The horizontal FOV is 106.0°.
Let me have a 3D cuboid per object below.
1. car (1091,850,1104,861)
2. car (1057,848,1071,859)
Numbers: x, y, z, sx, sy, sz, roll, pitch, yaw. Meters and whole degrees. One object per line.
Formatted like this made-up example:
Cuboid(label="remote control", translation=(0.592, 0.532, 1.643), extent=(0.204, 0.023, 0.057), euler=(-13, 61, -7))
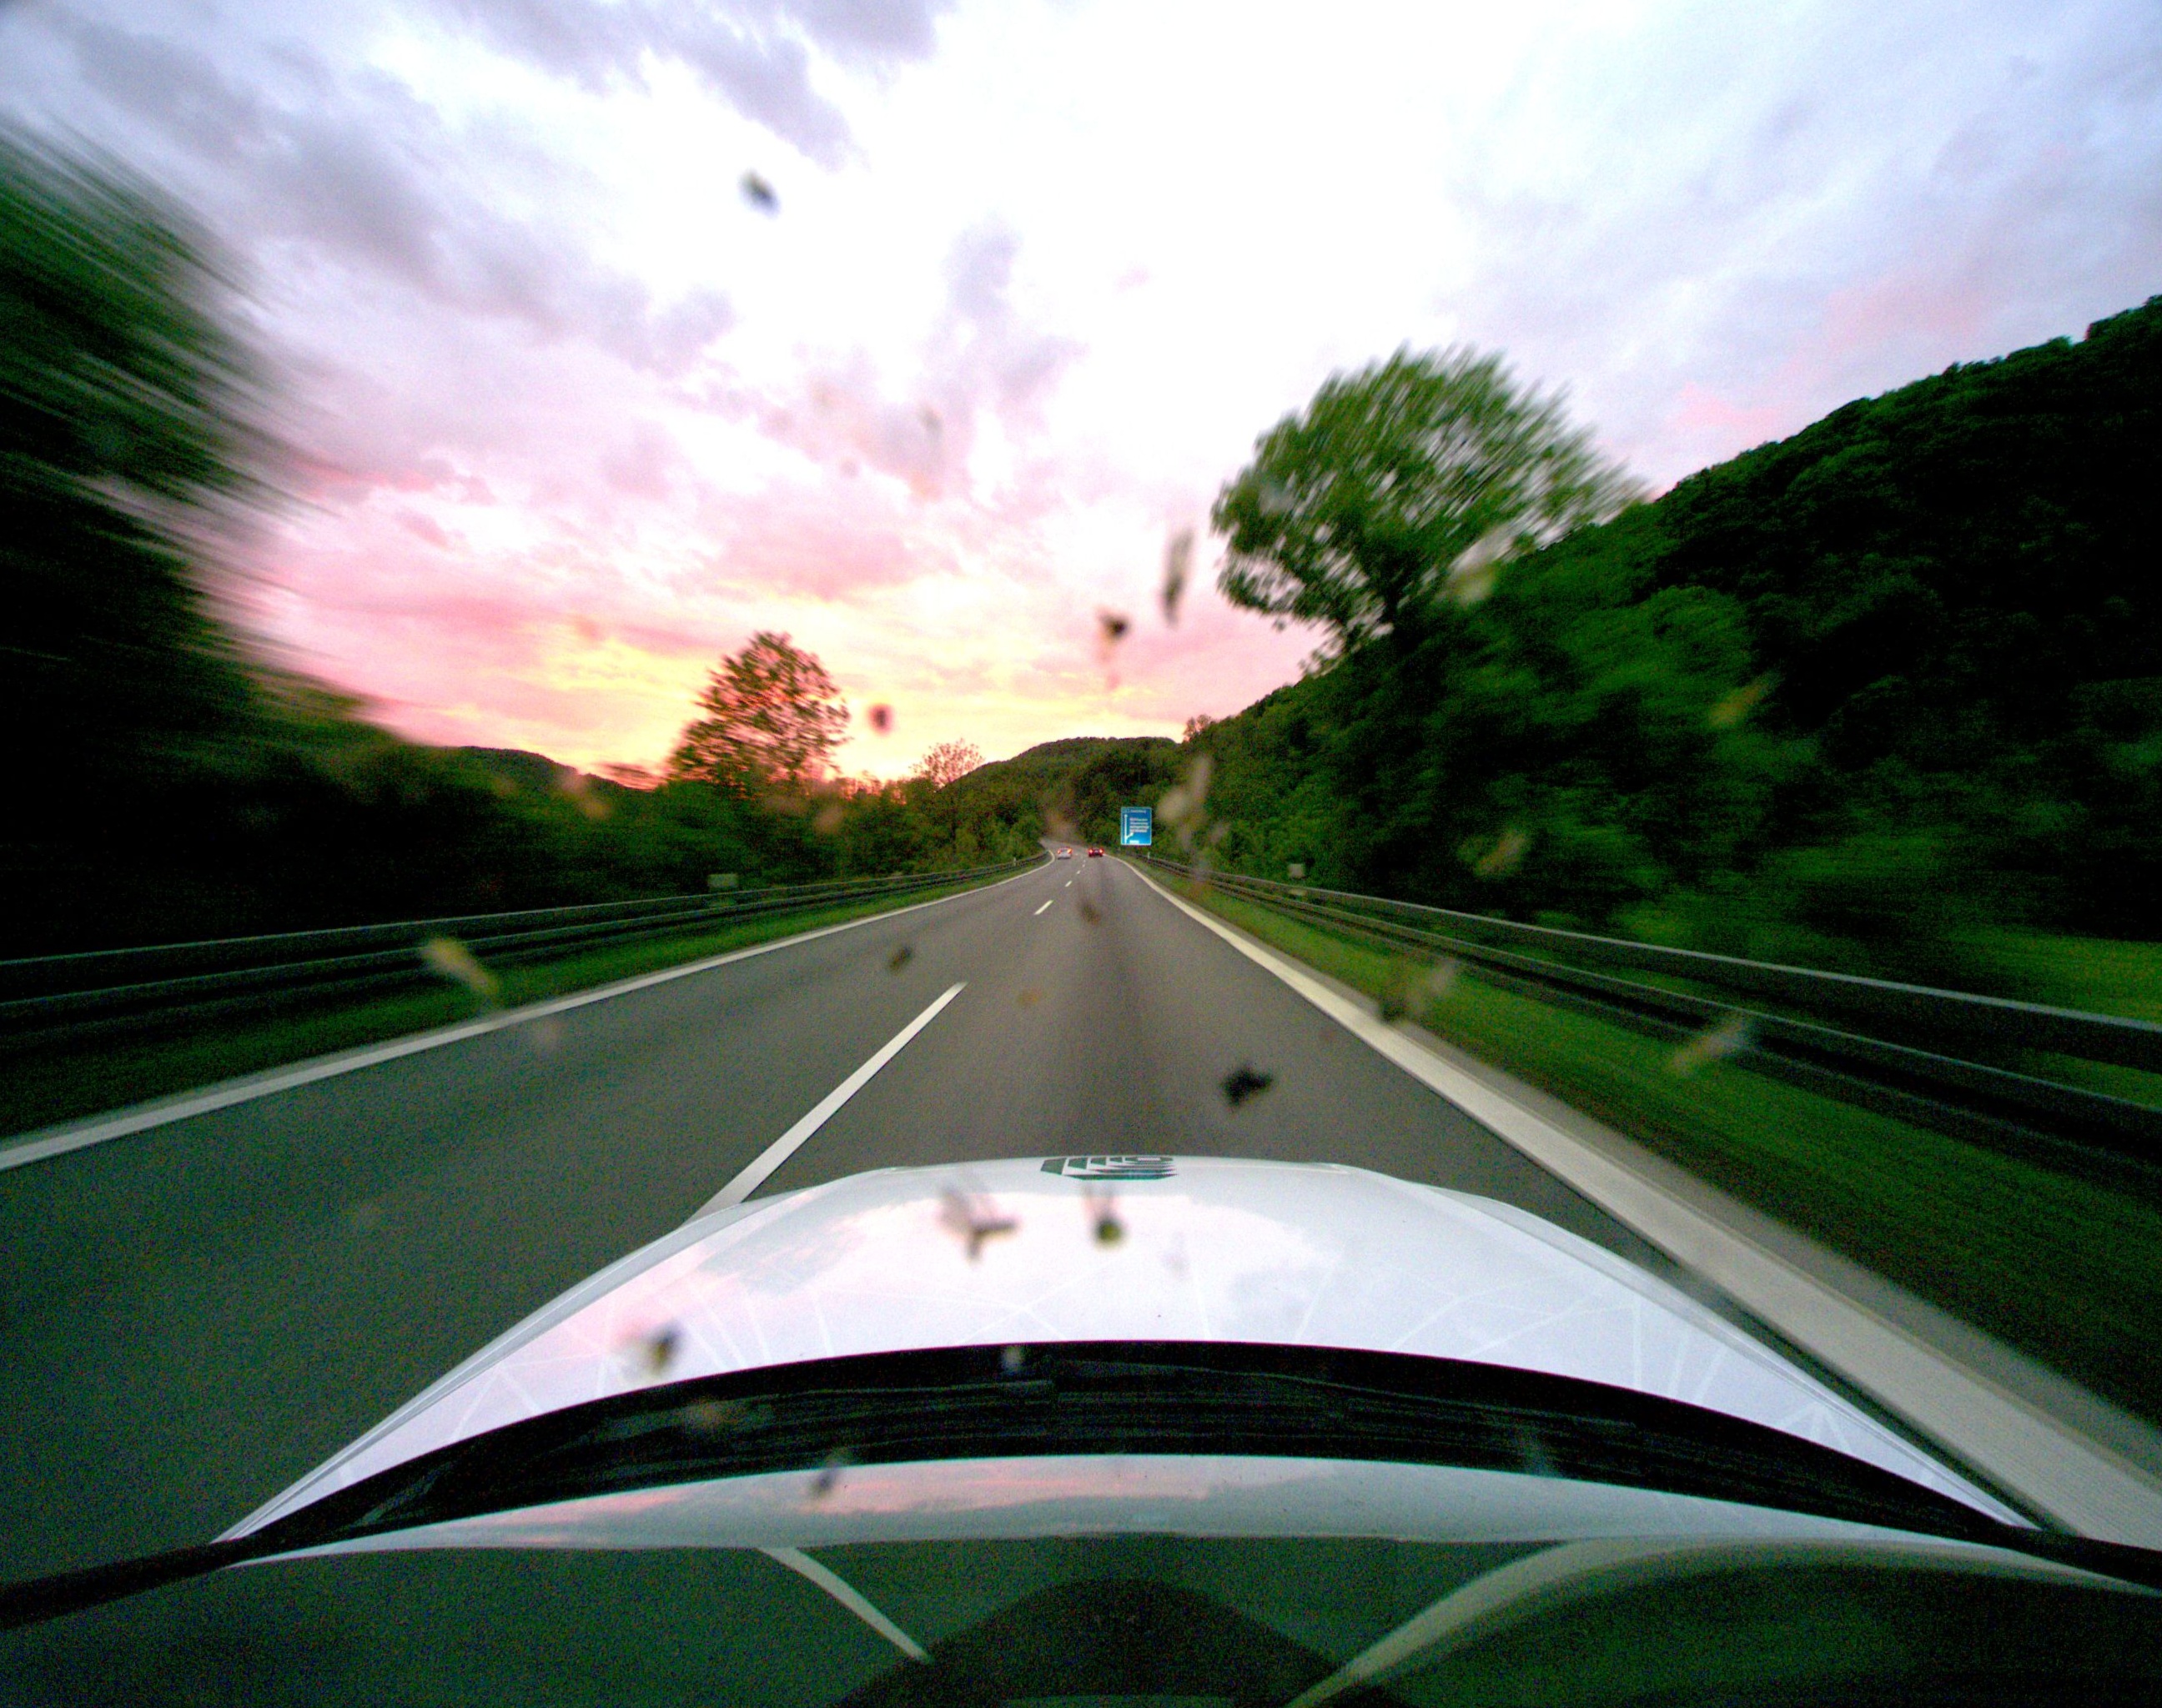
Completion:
Cuboid(label="car", translation=(2.312, 0.184, 114.189), extent=(1.871, 1.466, 4.001), euler=(-1, 0, 1))
Cuboid(label="car", translation=(-2.325, -0.069, 109.945), extent=(1.712, 1.501, 4.001), euler=(-1, 0, 1))
